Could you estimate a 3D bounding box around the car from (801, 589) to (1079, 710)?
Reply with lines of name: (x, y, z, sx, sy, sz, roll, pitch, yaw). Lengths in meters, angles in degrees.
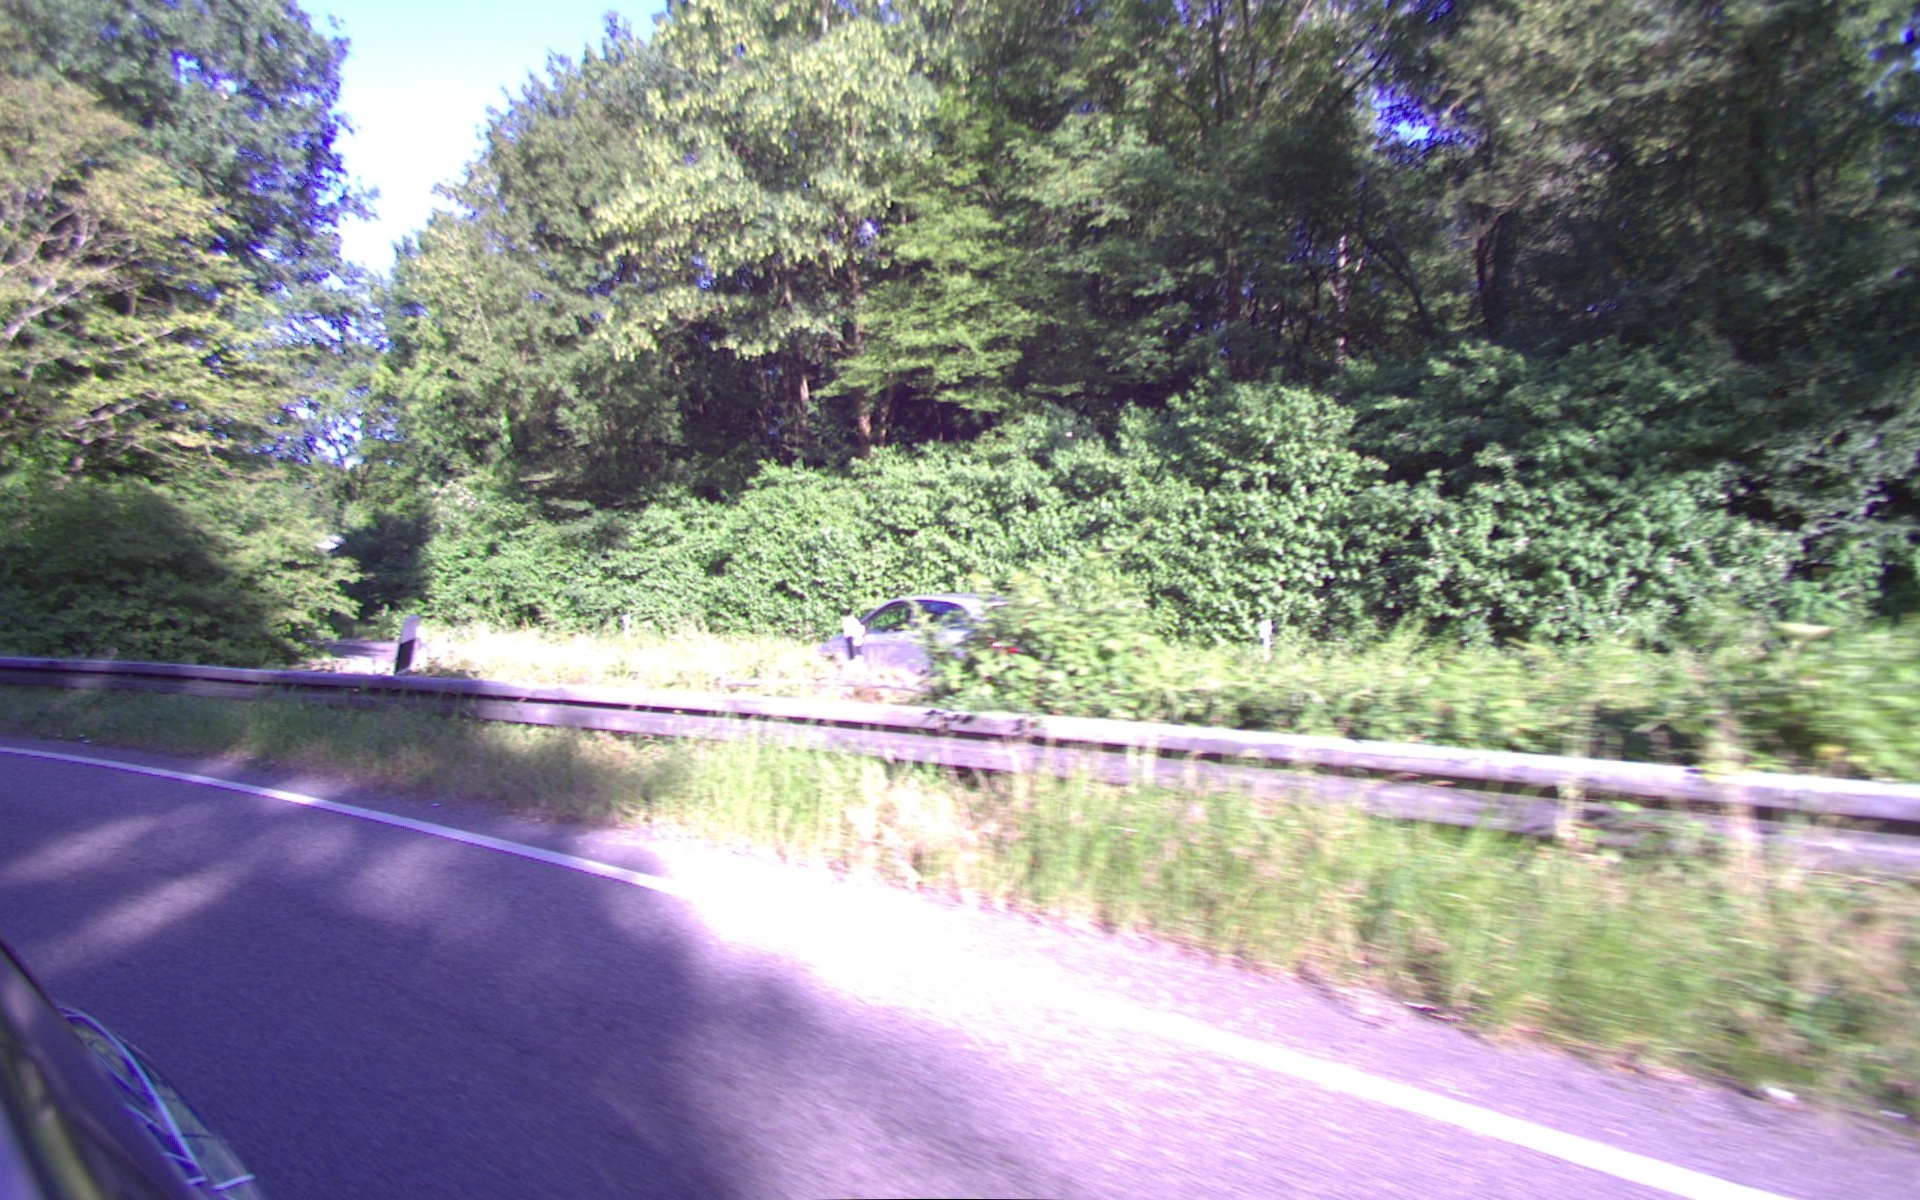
car: (-0.393, 0.633, 14.541, 4.002, 1.498, 1.701, -1, -1, 45)
